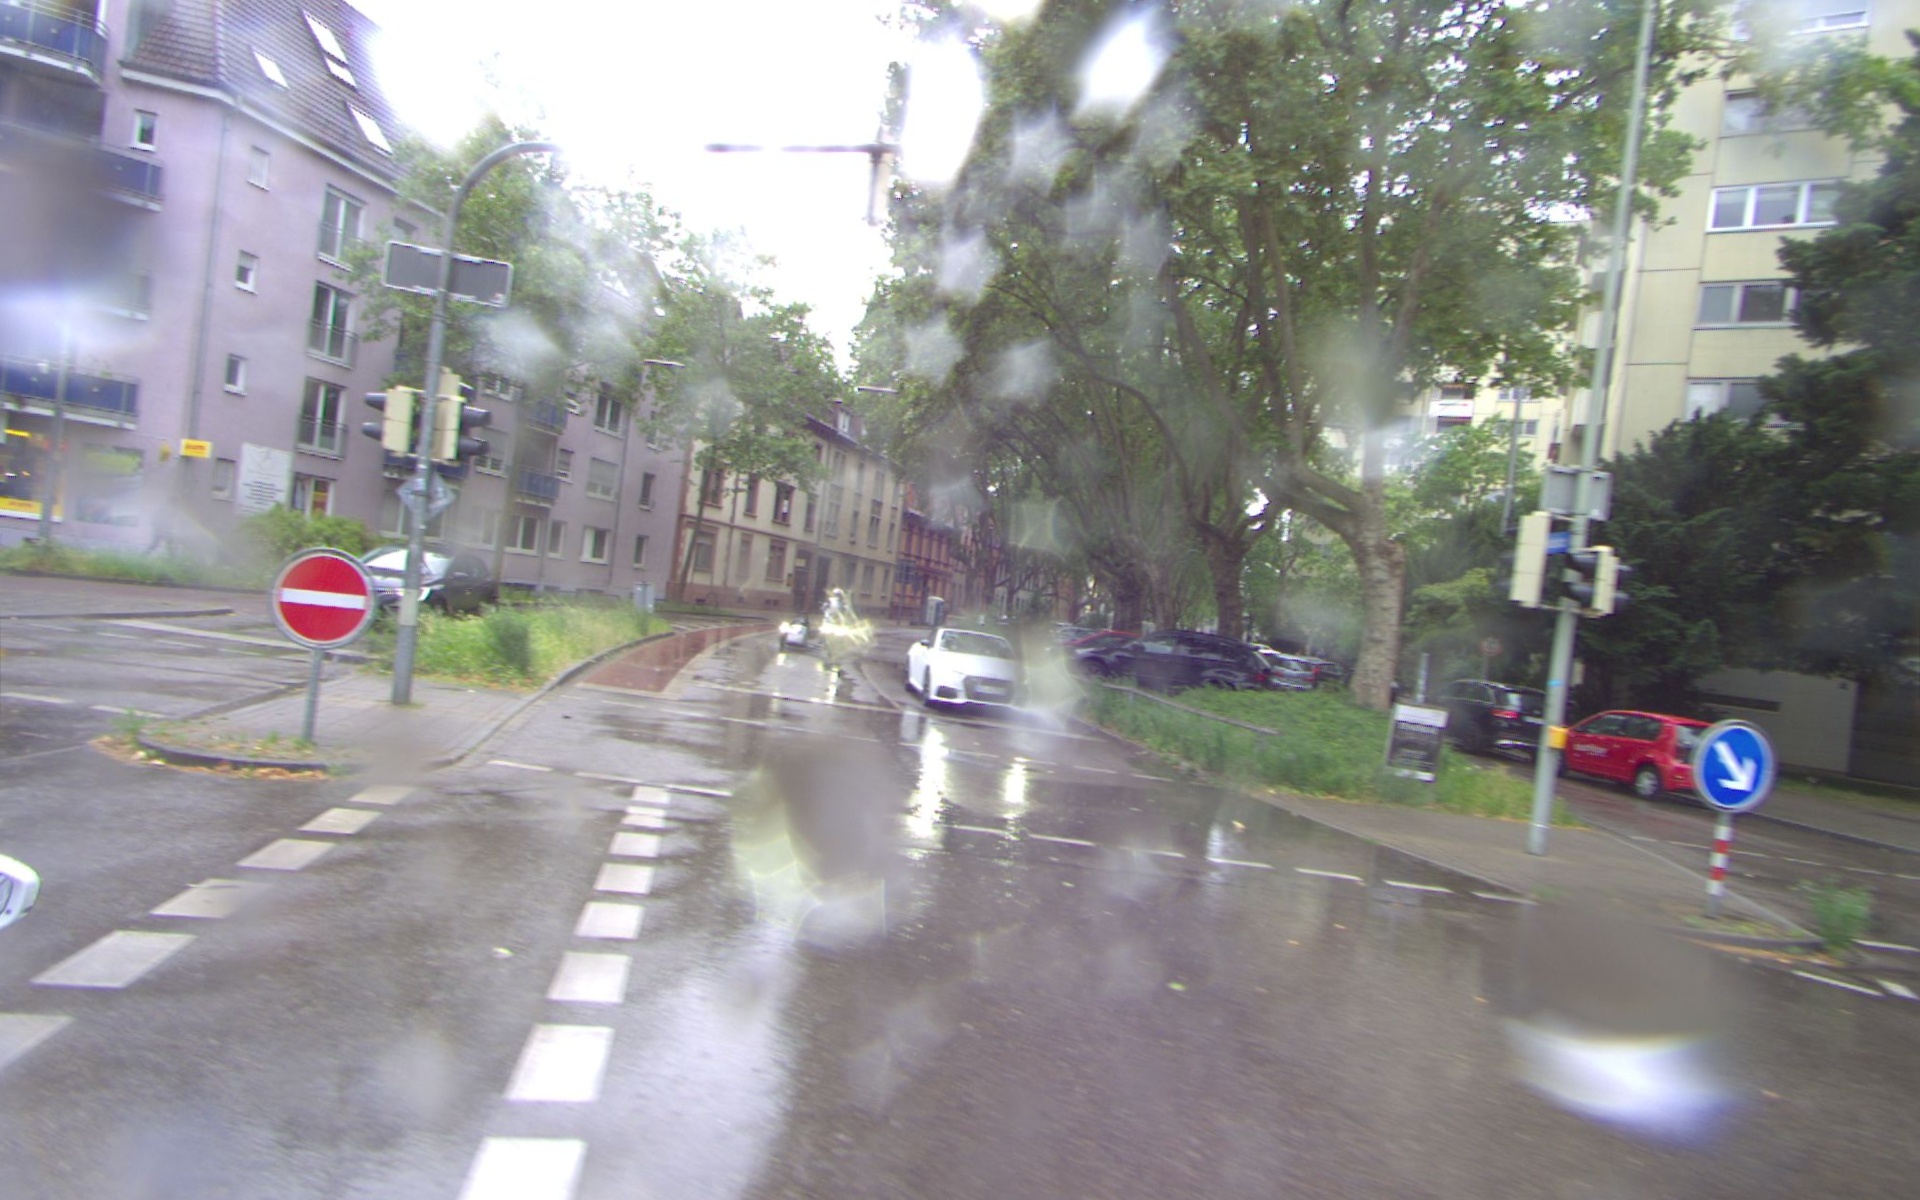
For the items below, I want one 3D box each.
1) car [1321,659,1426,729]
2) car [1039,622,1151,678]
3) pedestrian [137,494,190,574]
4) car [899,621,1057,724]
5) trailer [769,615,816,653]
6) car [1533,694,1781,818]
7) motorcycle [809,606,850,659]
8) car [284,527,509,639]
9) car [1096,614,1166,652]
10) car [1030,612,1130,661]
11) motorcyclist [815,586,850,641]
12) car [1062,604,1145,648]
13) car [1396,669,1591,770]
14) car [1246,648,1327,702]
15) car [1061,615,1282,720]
[{"bbox_3d":[12.026,2.695,29.500,1.805,1.615,3.488,7,-1,7],"label":"car"},{"bbox_3d":[4.938,1.792,36.582,3.769,1.440,1.886,8,1,11],"label":"car"},{"bbox_3d":[-19.170,-1.572,24.227,0.632,1.827,0.620,7,2,-12],"label":"pedestrian"},{"bbox_3d":[0.175,1.184,17.779,1.872,1.290,4.164,7,-1,-10],"label":"car"},{"bbox_3d":[-4.425,0.885,26.654,1.009,0.852,1.481,7,0,-5],"label":"trailer"},{"bbox_3d":[12.487,2.737,18.314,1.809,1.543,3.459,7,-1,-3],"label":"car"},{"bbox_3d":[-3.450,0.840,26.772,0.866,1.229,2.072,7,0,-6],"label":"motorcycle"},{"bbox_3d":[-9.667,-0.282,17.690,1.961,1.479,4.171,8,0,-9],"label":"car"},{"bbox_3d":[15.262,2.960,90.194,1.988,2.681,5.898,7,0,-43],"label":"car"},{"bbox_3d":[5.401,1.643,45.239,3.928,1.675,1.999,7,0,24],"label":"car"},{"bbox_3d":[-3.418,0.369,26.989,0.745,1.368,0.754,7,0,-6],"label":"motorcyclist"},{"bbox_3d":[10.112,1.832,71.272,2.218,2.430,5.540,7,0,-41],"label":"car"},{"bbox_3d":[12.173,2.666,23.361,1.905,1.627,4.455,7,-1,-1],"label":"car"},{"bbox_3d":[12.699,2.894,39.363,1.896,1.653,4.002,7,-1,4],"label":"car"},{"bbox_3d":[4.830,1.498,22.998,4.519,1.684,1.874,7,0,23],"label":"car"}]
